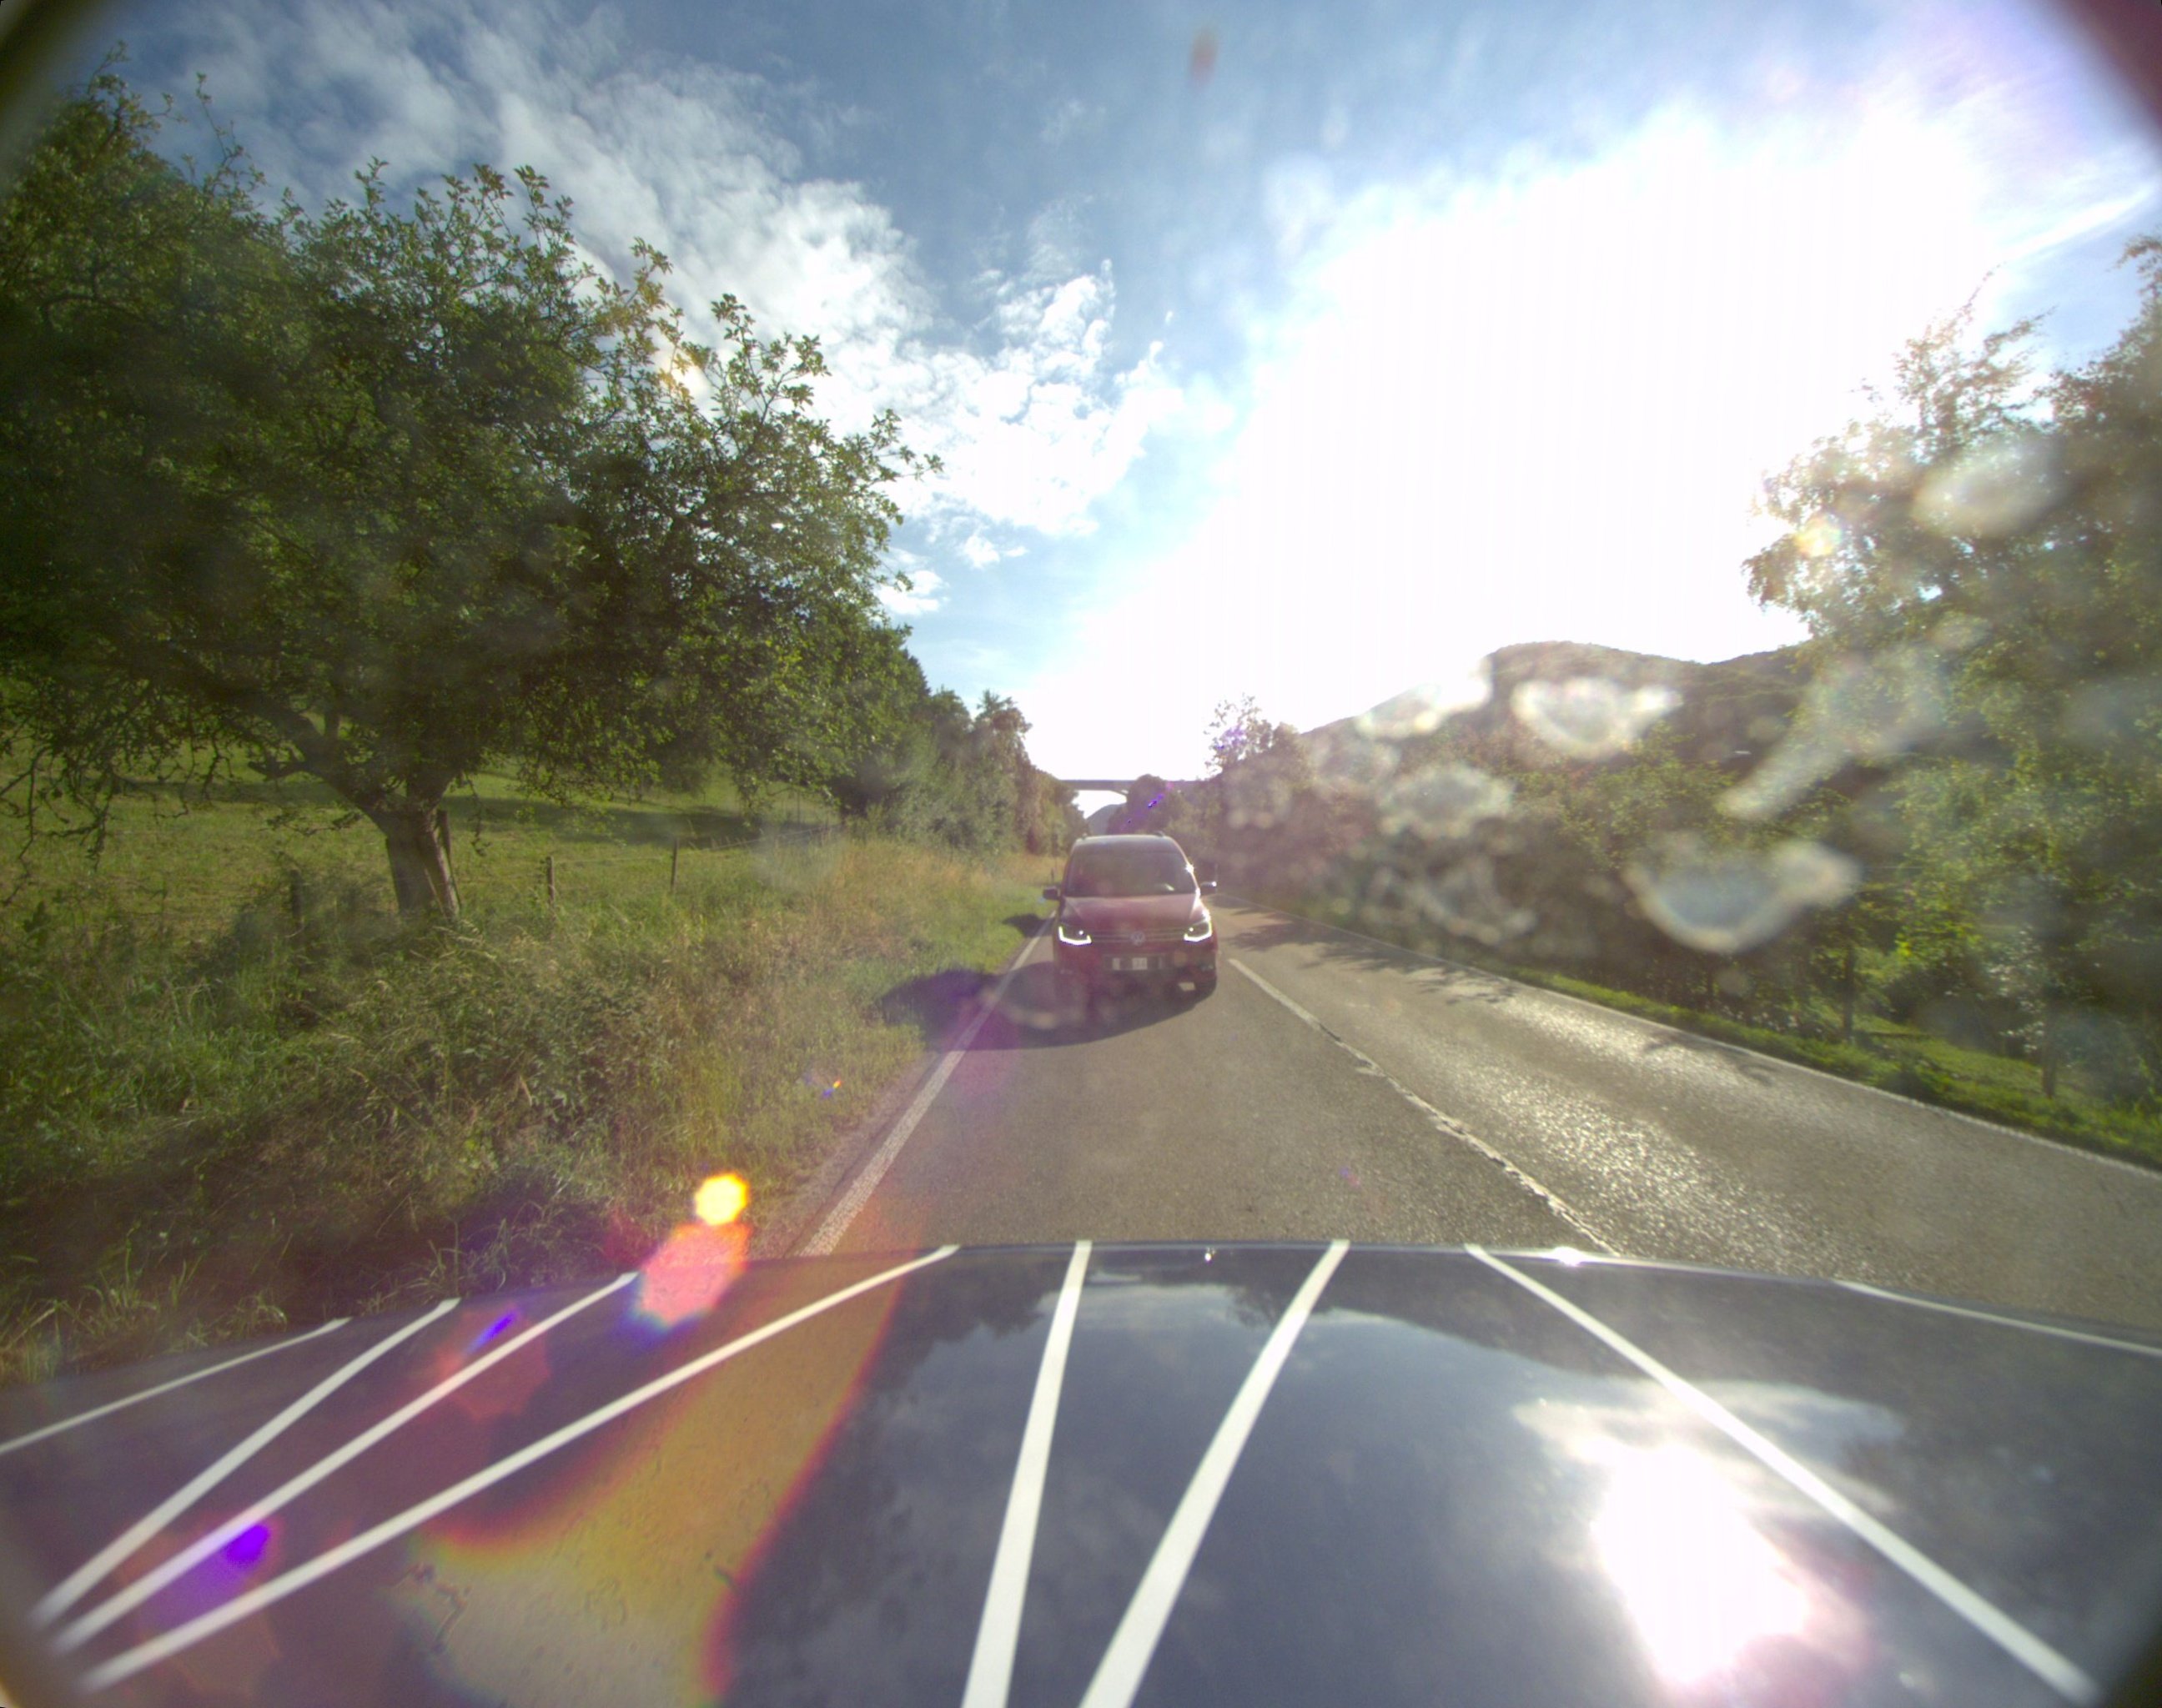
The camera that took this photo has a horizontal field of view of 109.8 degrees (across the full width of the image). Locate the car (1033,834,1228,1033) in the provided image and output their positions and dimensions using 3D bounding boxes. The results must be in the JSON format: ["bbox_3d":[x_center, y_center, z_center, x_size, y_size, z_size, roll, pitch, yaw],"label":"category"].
[{"bbox_3d":[0.520,0.736,9.282,1.753,1.799,4.288,-3,1,1],"label":"car"}]

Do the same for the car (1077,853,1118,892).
[{"bbox_3d":[0.782,0.804,35.514,1.753,1.608,4.288,-3,1,1],"label":"car"}]
